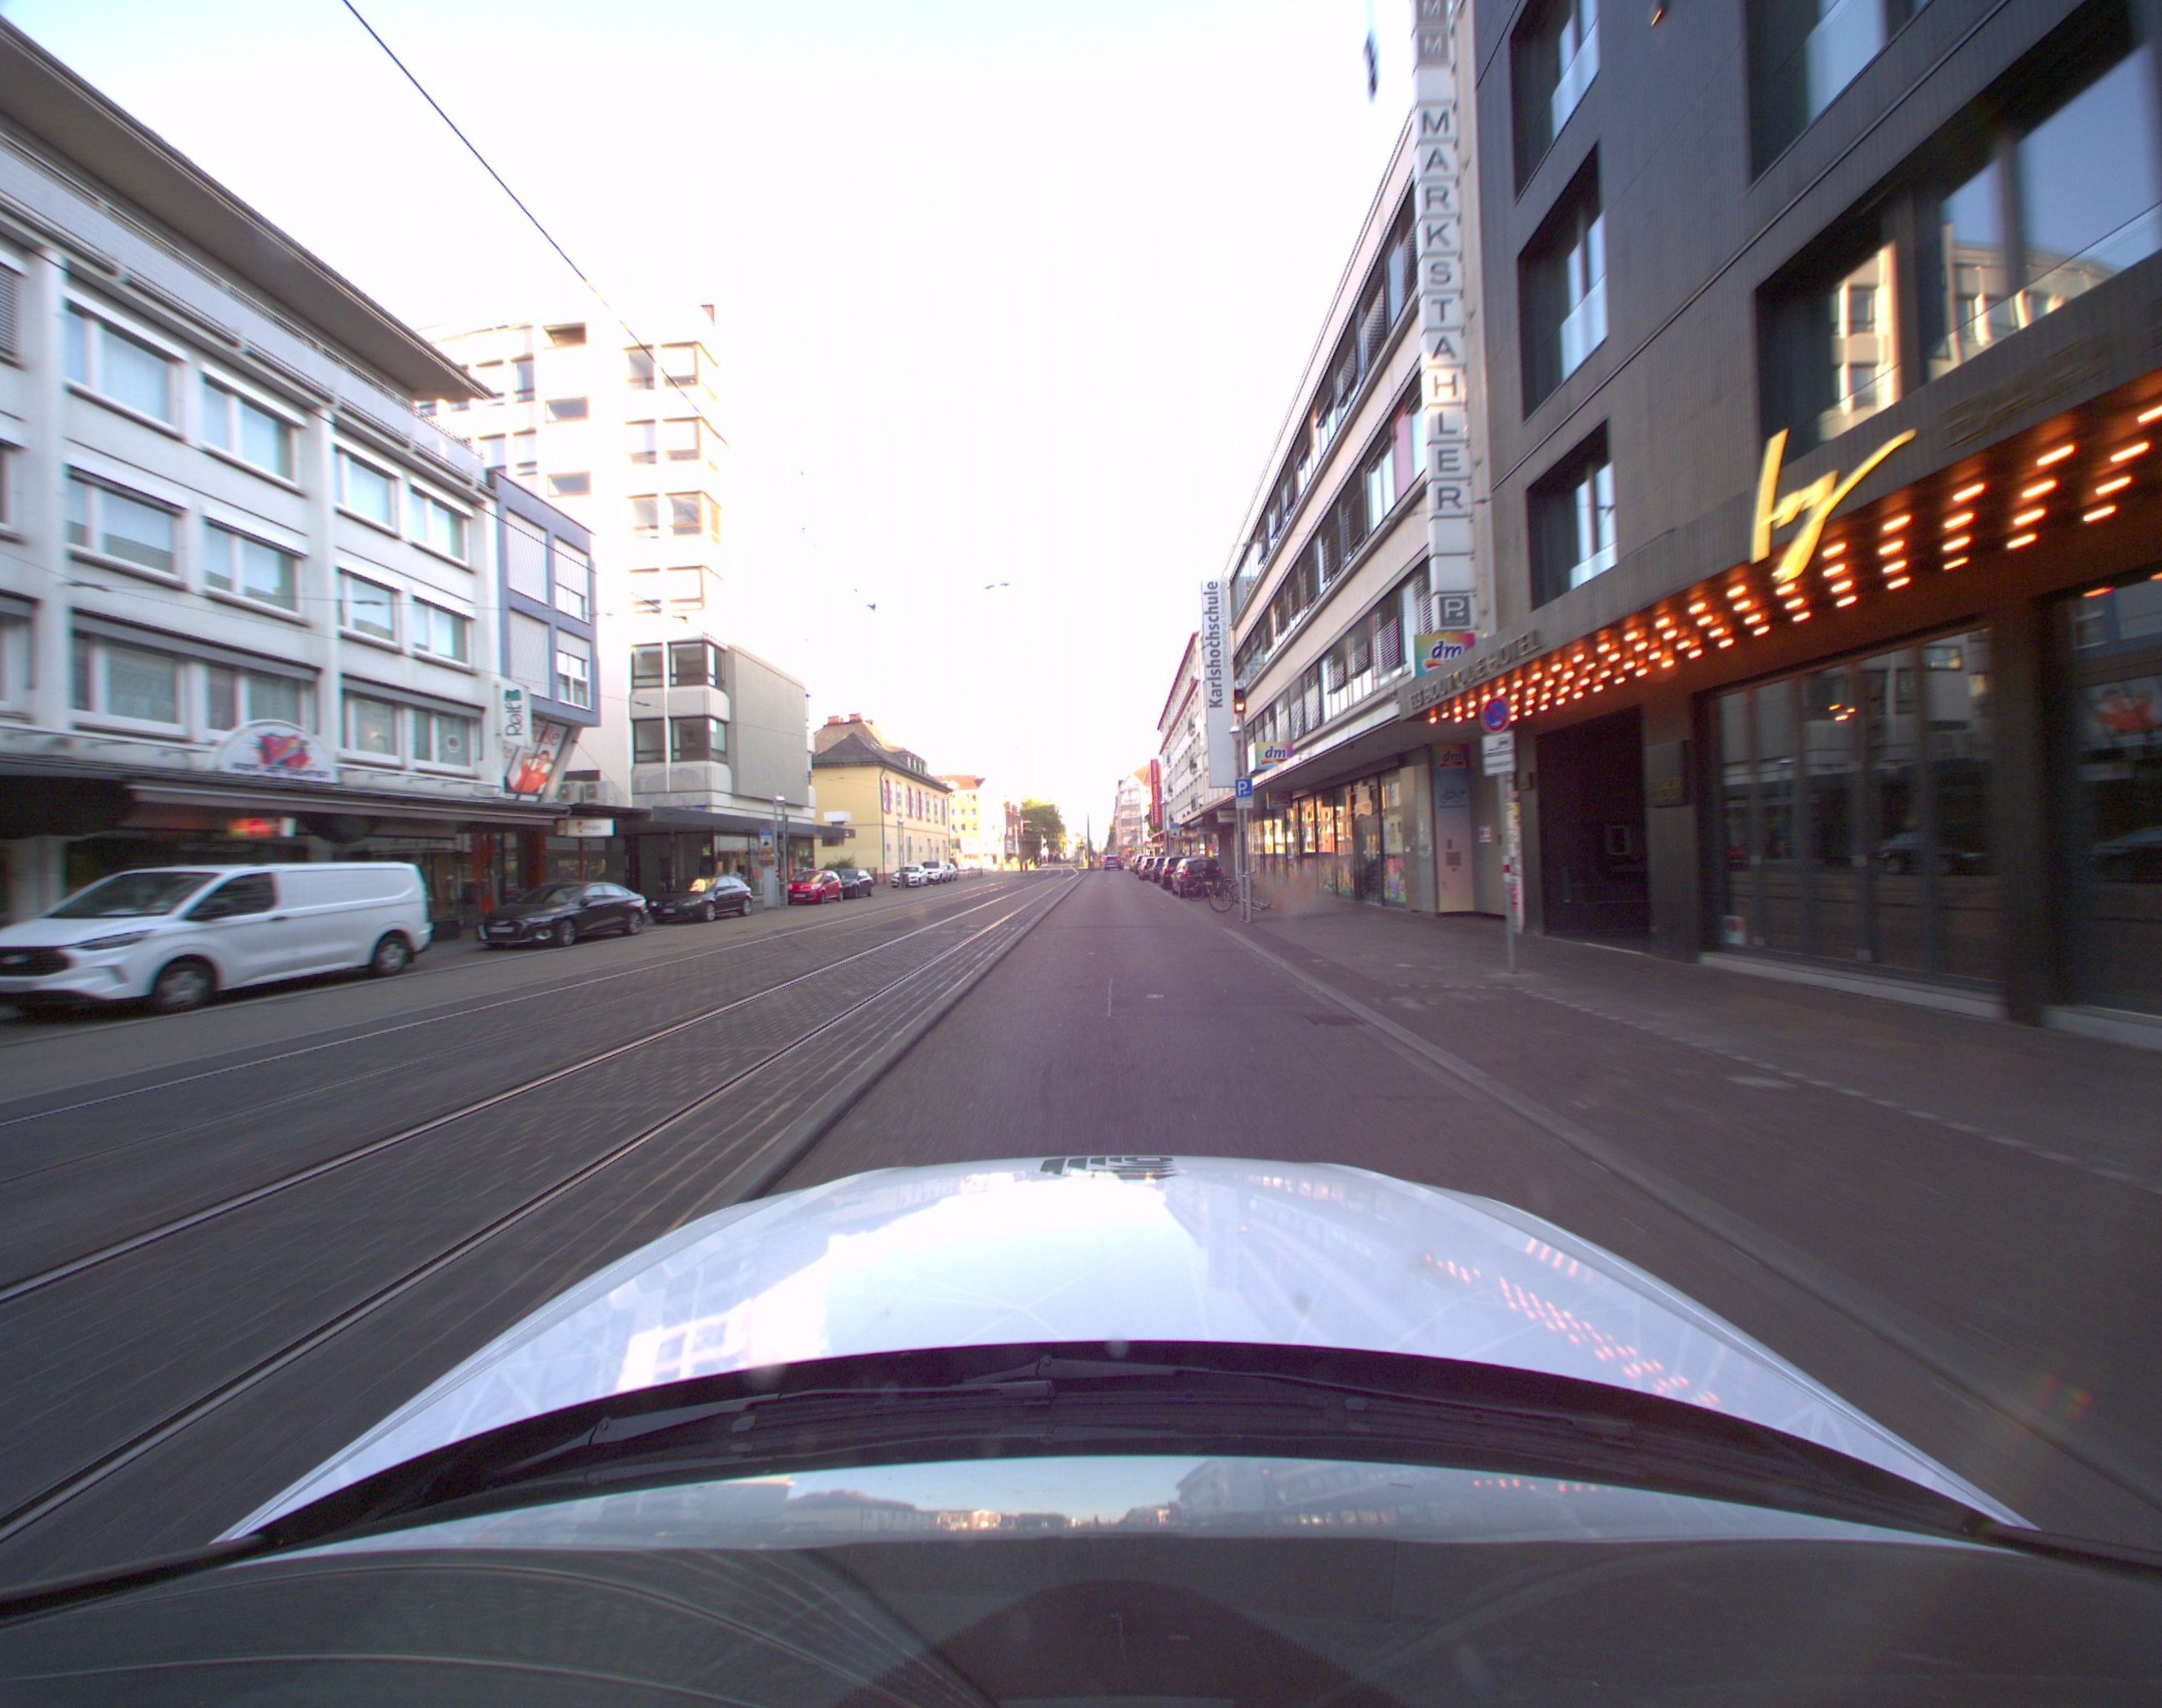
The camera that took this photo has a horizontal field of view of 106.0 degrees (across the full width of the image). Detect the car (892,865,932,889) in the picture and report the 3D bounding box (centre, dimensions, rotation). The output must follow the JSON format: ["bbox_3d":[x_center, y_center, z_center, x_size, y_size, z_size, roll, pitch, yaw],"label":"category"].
[{"bbox_3d":[-11.371,1.525,55.106,1.715,1.453,4.284,0,0,1],"label":"car"}]

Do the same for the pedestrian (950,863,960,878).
[{"bbox_3d":[-12.879,1.722,83.412,0.796,1.542,0.878,0,-1,3],"label":"pedestrian"}]

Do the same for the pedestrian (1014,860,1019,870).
[{"bbox_3d":[-8.586,1.488,108.196,0.662,1.375,0.651,-1,0,-1],"label":"pedestrian"}]

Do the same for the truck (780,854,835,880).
[{"bbox_3d":[-30.045,1.426,89.523,2.168,2.699,5.501,-1,-1,36],"label":"truck"}]

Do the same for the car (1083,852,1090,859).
[{"bbox_3d":[1.662,0.578,240.373,1.948,2.014,4.001,0,-1,2],"label":"car"}]

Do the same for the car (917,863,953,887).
[{"bbox_3d":[-10.891,1.526,61.167,1.881,1.661,4.760,0,0,0],"label":"car"}]

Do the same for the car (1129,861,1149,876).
[{"bbox_3d":[5.620,1.356,79.158,1.783,1.413,4.688,0,-1,1],"label":"car"}]

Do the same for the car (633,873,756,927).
[{"bbox_3d":[-12.323,1.405,26.282,1.783,1.460,4.093,-2,0,3],"label":"car"}]

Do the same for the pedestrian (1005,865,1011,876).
[{"bbox_3d":[-9.723,2.195,108.041,0.662,1.375,0.651,-2,-1,-1],"label":"pedestrian"}]

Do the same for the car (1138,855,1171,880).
[{"bbox_3d":[4.718,0.880,52.809,1.785,1.533,4.857,0,-1,1],"label":"car"}]

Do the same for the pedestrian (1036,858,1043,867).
[{"bbox_3d":[-6.588,1.280,129.362,0.900,1.375,0.853,-2,-1,-1],"label":"pedestrian"}]

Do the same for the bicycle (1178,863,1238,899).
[{"bbox_3d":[4.242,0.907,27.263,1.834,1.110,0.642,-3,-1,-2],"label":"bicycle"}]

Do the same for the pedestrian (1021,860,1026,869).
[{"bbox_3d":[-14.230,2.613,201.099,1.090,2.014,1.162,0,-1,-1],"label":"pedestrian"}]

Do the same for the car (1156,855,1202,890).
[{"bbox_3d":[4.499,0.823,37.723,1.758,1.513,4.073,0,-1,2],"label":"car"}]

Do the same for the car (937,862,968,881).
[{"bbox_3d":[-10.542,1.439,67.024,1.742,1.474,4.001,0,0,1],"label":"car"}]

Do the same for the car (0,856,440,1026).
[{"bbox_3d":[-12.666,1.071,12.249,1.957,2.014,5.100,0,-1,1],"label":"car"}]

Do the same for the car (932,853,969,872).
[{"bbox_3d":[-15.361,0.988,95.683,3.994,2.014,1.990,-2,-1,-15],"label":"car"}]

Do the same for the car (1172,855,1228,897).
[{"bbox_3d":[4.397,0.807,30.624,1.648,1.463,4.024,0,-1,2],"label":"car"}]

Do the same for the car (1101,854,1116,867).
[{"bbox_3d":[4.152,1.012,122.744,1.986,1.596,4.001,-6,-2,2],"label":"car"}]

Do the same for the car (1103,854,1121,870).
[{"bbox_3d":[3.440,0.884,90.402,1.828,1.636,4.093,-3,-2,3],"label":"car"}]

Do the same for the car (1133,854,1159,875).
[{"bbox_3d":[5.382,0.852,67.753,1.849,1.701,4.419,0,-1,1],"label":"car"}]

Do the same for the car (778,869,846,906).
[{"bbox_3d":[-11.849,1.445,36.126,1.685,1.434,3.593,-2,0,1],"label":"car"}]

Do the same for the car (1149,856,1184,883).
[{"bbox_3d":[4.902,0.881,47.254,1.719,1.481,4.001,0,-1,2],"label":"car"}]

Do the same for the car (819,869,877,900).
[{"bbox_3d":[-11.642,1.507,40.925,1.685,1.425,3.966,0,0,2],"label":"car"}]

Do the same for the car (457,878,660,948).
[{"bbox_3d":[-12.390,1.327,19.748,1.865,1.427,4.572,0,-1,2],"label":"car"}]

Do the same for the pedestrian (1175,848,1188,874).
[{"bbox_3d":[7.443,0.507,60.275,0.772,1.880,0.934,-2,-1,0],"label":"pedestrian"}]

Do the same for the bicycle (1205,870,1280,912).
[{"bbox_3d":[4.240,0.967,21.462,1.790,0.972,0.575,-4,0,-2],"label":"bicycle"}]

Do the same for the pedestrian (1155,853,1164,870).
[{"bbox_3d":[7.173,0.703,74.585,0.730,1.574,0.967,-2,0,1],"label":"pedestrian"}]

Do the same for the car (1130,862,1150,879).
[{"bbox_3d":[5.331,1.487,73.956,1.645,1.421,4.192,0,-1,2],"label":"car"}]
